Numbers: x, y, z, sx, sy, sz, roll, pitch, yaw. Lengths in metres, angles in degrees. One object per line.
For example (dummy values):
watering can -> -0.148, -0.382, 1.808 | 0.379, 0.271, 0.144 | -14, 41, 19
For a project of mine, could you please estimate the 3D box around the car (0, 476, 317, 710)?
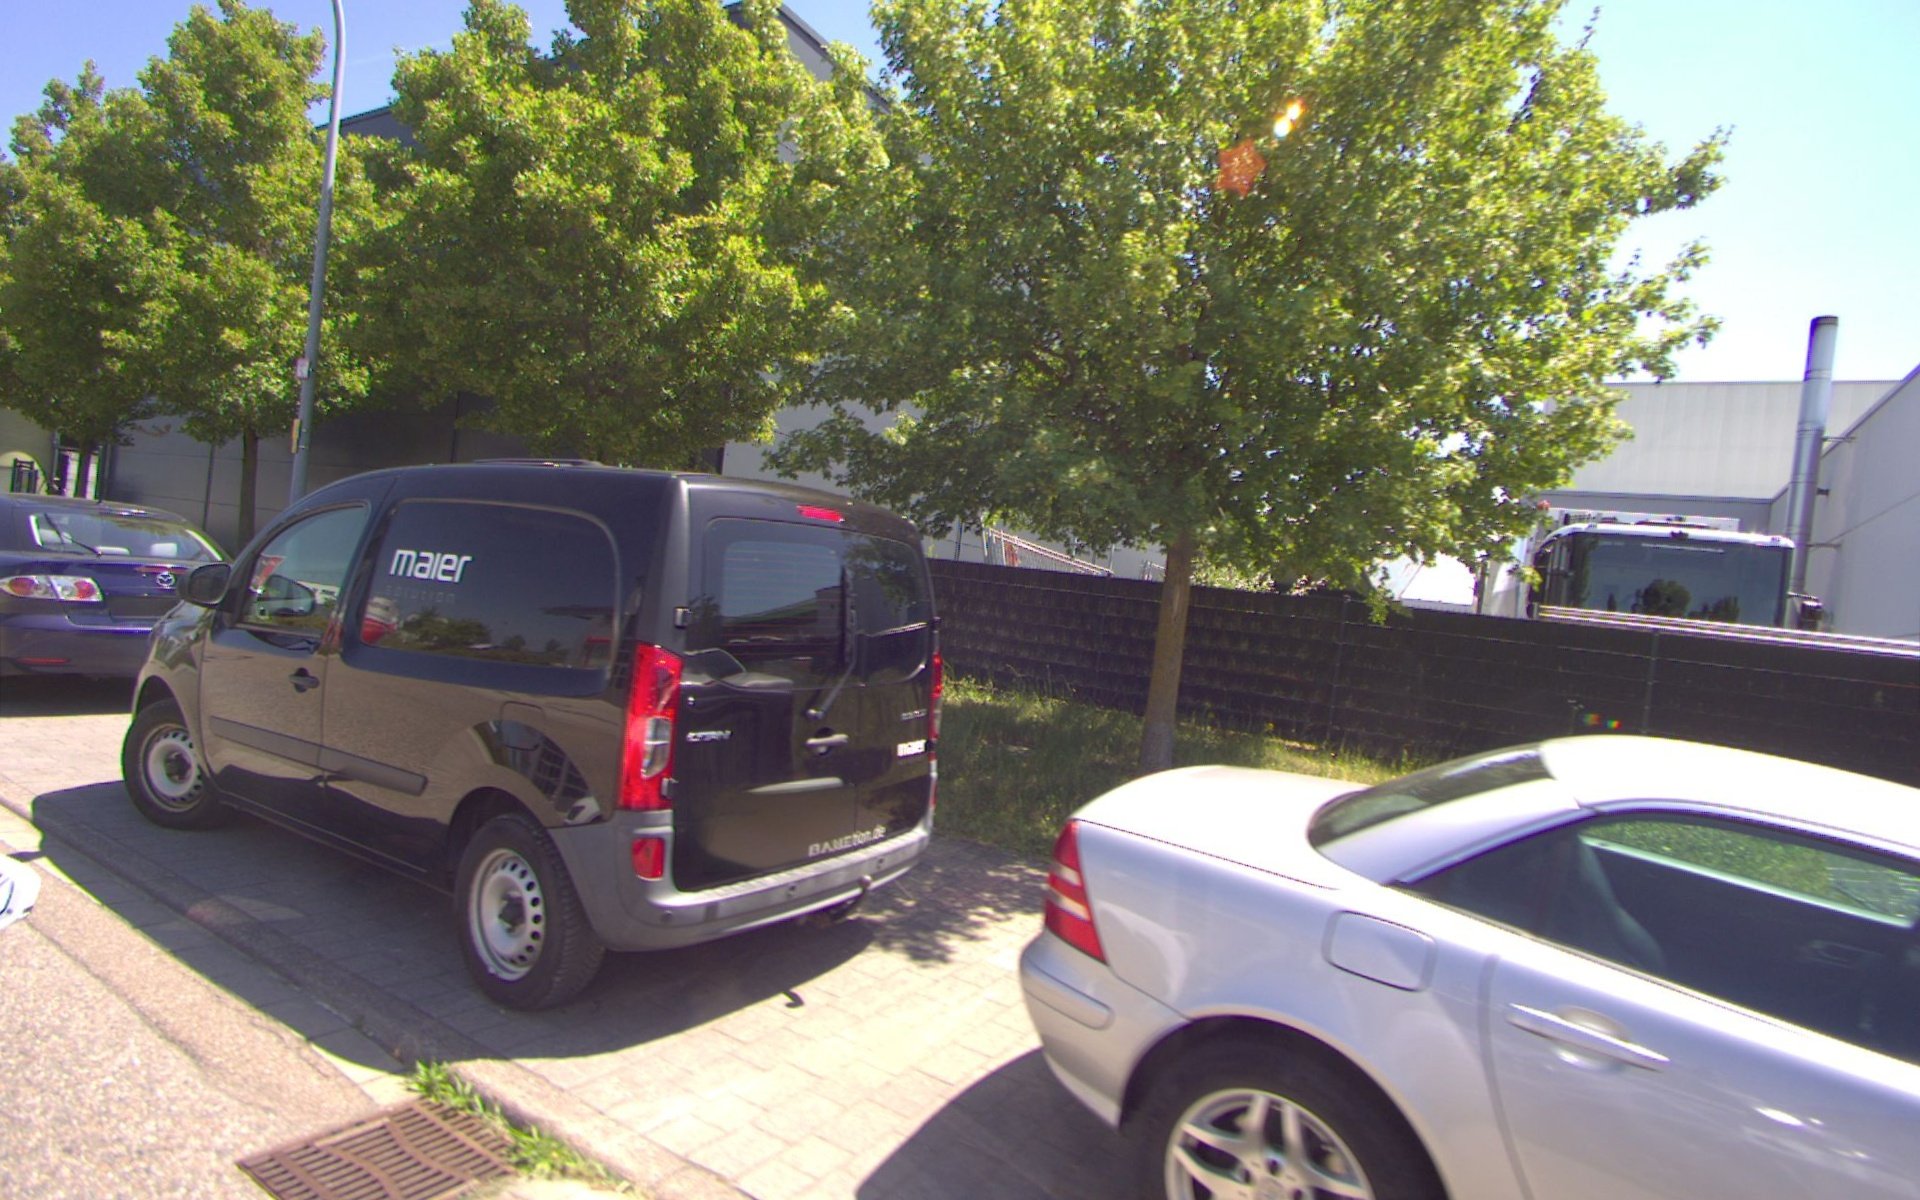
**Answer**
car -> -7.448, -0.196, 8.194 | 4.635, 1.449, 1.852 | 6, 0, 32

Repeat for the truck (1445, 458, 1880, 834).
truck -> 10.000, 0.627, 15.952 | 2.981, 3.870, 10.005 | 7, 0, 21

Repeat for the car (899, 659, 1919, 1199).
car -> 2.049, 1.017, 2.084 | 4.049, 1.303, 1.712 | 6, 0, 34

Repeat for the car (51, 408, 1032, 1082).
car -> -2.100, 0.266, 4.715 | 4.282, 1.848, 1.995 | 6, 0, 32
